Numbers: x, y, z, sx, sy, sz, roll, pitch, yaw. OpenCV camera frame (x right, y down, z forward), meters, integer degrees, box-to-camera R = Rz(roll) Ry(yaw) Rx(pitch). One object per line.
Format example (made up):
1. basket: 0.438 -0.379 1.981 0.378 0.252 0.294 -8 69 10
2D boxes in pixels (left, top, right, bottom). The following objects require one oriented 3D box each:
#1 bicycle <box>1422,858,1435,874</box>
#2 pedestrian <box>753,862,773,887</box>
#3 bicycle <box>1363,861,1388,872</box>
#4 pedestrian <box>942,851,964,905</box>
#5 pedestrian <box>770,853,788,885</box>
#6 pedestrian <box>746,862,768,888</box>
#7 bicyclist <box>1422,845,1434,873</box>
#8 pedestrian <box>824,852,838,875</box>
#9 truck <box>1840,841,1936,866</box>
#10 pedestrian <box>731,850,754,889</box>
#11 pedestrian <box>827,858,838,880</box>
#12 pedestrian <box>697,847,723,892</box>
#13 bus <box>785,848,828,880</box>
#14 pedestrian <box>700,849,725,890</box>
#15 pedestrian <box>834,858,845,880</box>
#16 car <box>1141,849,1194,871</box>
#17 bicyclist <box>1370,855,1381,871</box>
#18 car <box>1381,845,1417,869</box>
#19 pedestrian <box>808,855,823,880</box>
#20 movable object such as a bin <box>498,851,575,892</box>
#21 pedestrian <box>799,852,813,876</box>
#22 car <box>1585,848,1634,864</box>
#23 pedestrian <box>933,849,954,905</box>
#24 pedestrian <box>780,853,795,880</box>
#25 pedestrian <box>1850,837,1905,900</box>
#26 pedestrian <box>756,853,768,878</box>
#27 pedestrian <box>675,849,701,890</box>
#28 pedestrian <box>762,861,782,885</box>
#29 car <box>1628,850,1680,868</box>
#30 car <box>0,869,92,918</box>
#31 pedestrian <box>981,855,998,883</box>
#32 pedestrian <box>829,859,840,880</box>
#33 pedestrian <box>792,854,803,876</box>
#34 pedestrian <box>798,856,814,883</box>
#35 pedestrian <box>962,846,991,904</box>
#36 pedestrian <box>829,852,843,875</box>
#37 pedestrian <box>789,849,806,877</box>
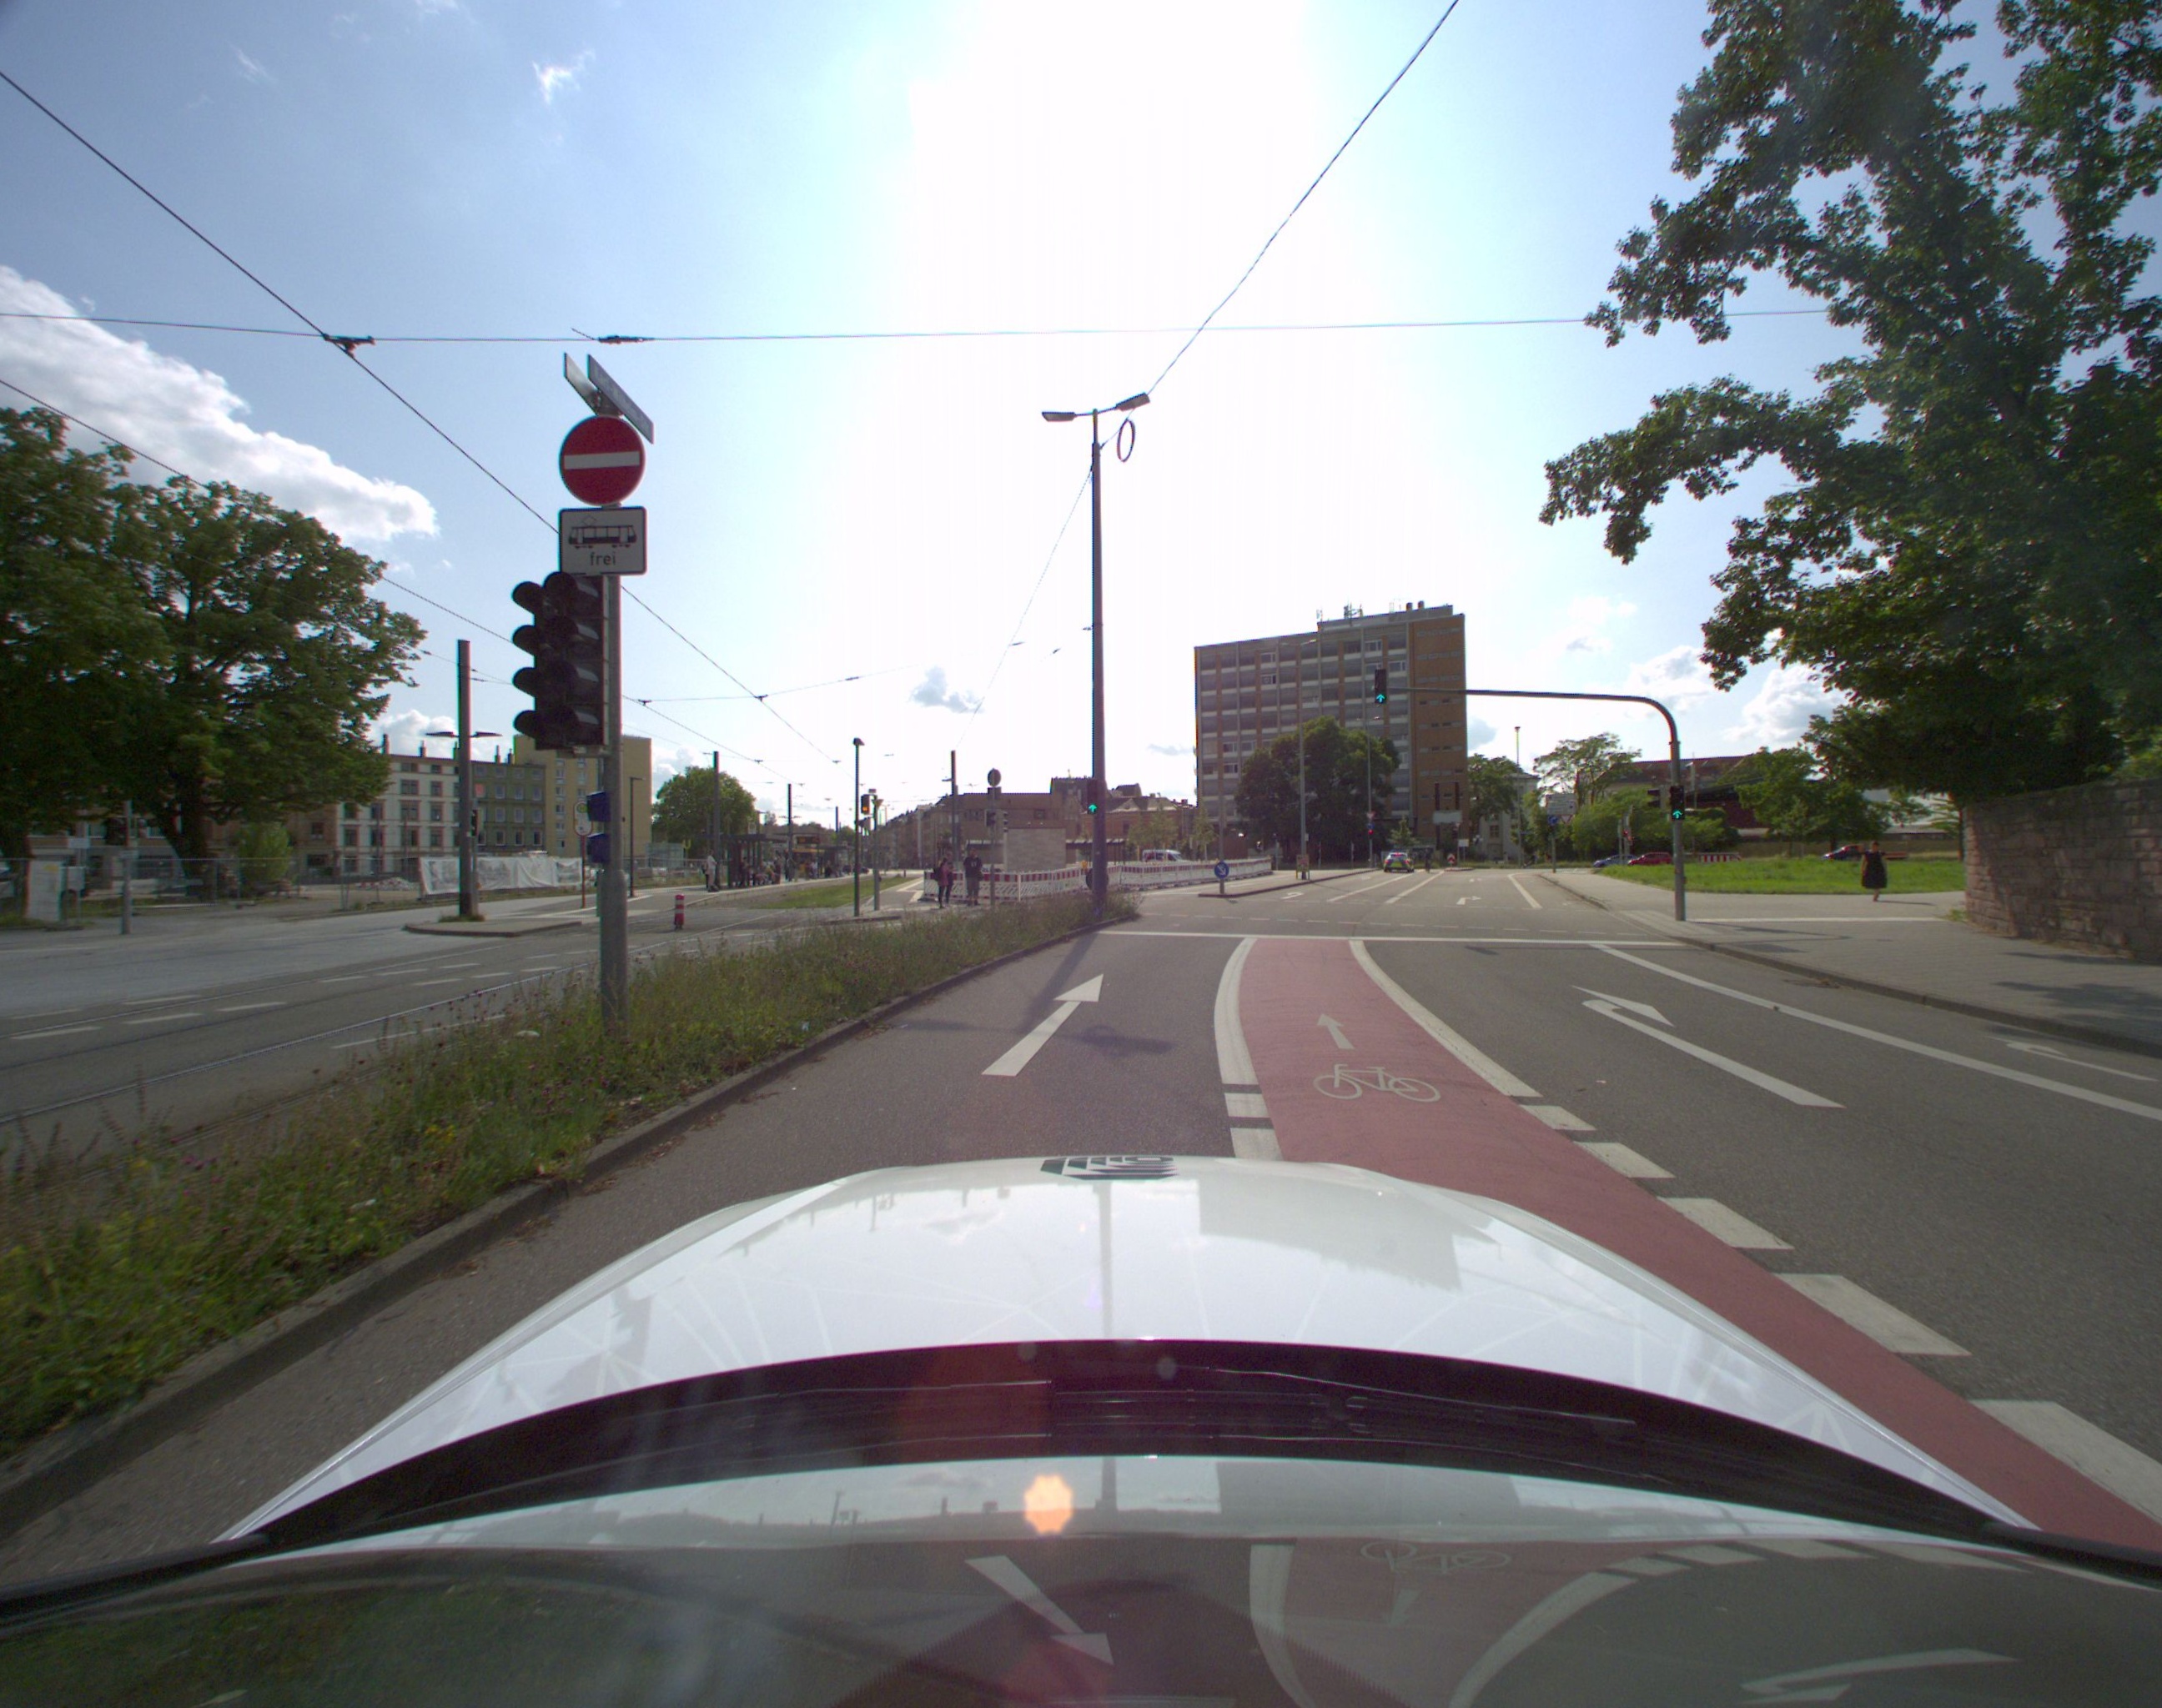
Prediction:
1. bicycle: 24.922 0.867 58.415 0.714 1.084 2.204 -2 0 26
2. pedestrian: -18.254 1.179 46.756 0.939 1.431 0.729 0 -1 -7
3. bicycle: 28.845 1.223 79.853 2.177 1.084 0.636 -2 0 -1
4. pedestrian: -4.164 0.768 26.493 0.404 1.736 0.625 -1 -1 28
5. pedestrian: -19.065 0.972 51.423 0.939 2.014 0.729 0 -1 -7
6. pedestrian: -18.240 1.163 45.873 0.939 1.431 0.729 0 -1 -7
7. bicyclist: 24.914 0.379 58.419 0.711 1.973 0.844 -2 0 26
8. pedestrian: -22.140 0.851 72.087 0.947 2.014 0.723 1 -2 -34
9. truck: 64.083 -0.051 64.810 5.066 1.838 2.013 -2 -1 35
10. pedestrian: -17.636 0.809 42.437 0.939 2.014 0.729 0 -1 -7
11. pedestrian: -23.203 1.416 75.923 0.944 2.014 0.726 0 -1 -20
12. pedestrian: -16.600 0.701 36.475 0.813 2.014 0.797 0 -1 -7
13. bus: -27.986 1.004 83.478 2.422 2.982 10.510 -1 0 -9
14. pedestrian: -18.544 0.785 41.033 0.939 2.014 0.729 0 -1 -7
15. pedestrian: -22.192 1.397 74.896 0.944 2.014 0.726 0 -1 -20
16. car: 9.444 0.641 89.499 2.315 2.319 5.519 0 -1 -45
17. bicyclist: 28.862 0.890 79.859 0.834 1.470 0.636 -2 0 -1
18. car: 23.417 0.198 59.878 2.110 1.684 4.126 1 0 26
19. pedestrian: -21.079 1.068 64.679 0.947 2.014 0.723 1 -2 -34
20. movable object such as a bin: -36.000 1.119 53.976 2.639 2.574 3.991 -1 -1 -6
21. pedestrian: -23.270 0.826 68.854 0.947 2.014 0.723 1 -2 -34
22. car: 50.073 0.176 77.183 3.687 1.456 1.636 -2 -1 39
23. pedestrian: -4.292 0.701 25.432 0.611 1.707 0.621 -1 -1 -9
24. pedestrian: -22.940 0.977 63.603 0.948 2.014 0.723 1 -2 -38
25. pedestrian: 21.472 0.391 21.962 0.888 1.639 0.743 0 -2 -25
26. pedestrian: -25.983 0.976 66.363 0.729 2.014 0.940 0 -1 -12
27. pedestrian: -19.469 0.773 40.329 0.939 2.014 0.729 0 -1 -7
28. pedestrian: -18.144 1.113 47.821 0.939 1.431 0.729 0 -1 -7
29. car: 51.430 0.455 73.163 3.687 1.456 1.636 -2 -1 39
30. car: -54.847 2.029 41.877 2.043 2.418 4.633 -1 -1 9
31. pedestrian: -5.961 0.953 52.888 0.934 1.790 1.173 0 -1 -13
32. pedestrian: -23.663 1.456 78.093 0.944 2.014 0.726 0 -1 -20
33. pedestrian: -25.630 0.978 73.624 0.733 2.014 0.935 1 -1 -28
34. pedestrian: -20.979 1.165 62.070 0.948 2.014 0.723 1 -2 -38
35. pedestrian: -3.465 0.704 27.033 0.795 1.885 0.608 -1 -1 -24
36. pedestrian: -21.990 0.869 73.092 0.947 2.014 0.723 1 -2 -34
37. pedestrian: -20.078 0.633 57.657 0.947 2.014 0.723 1 -2 -34
